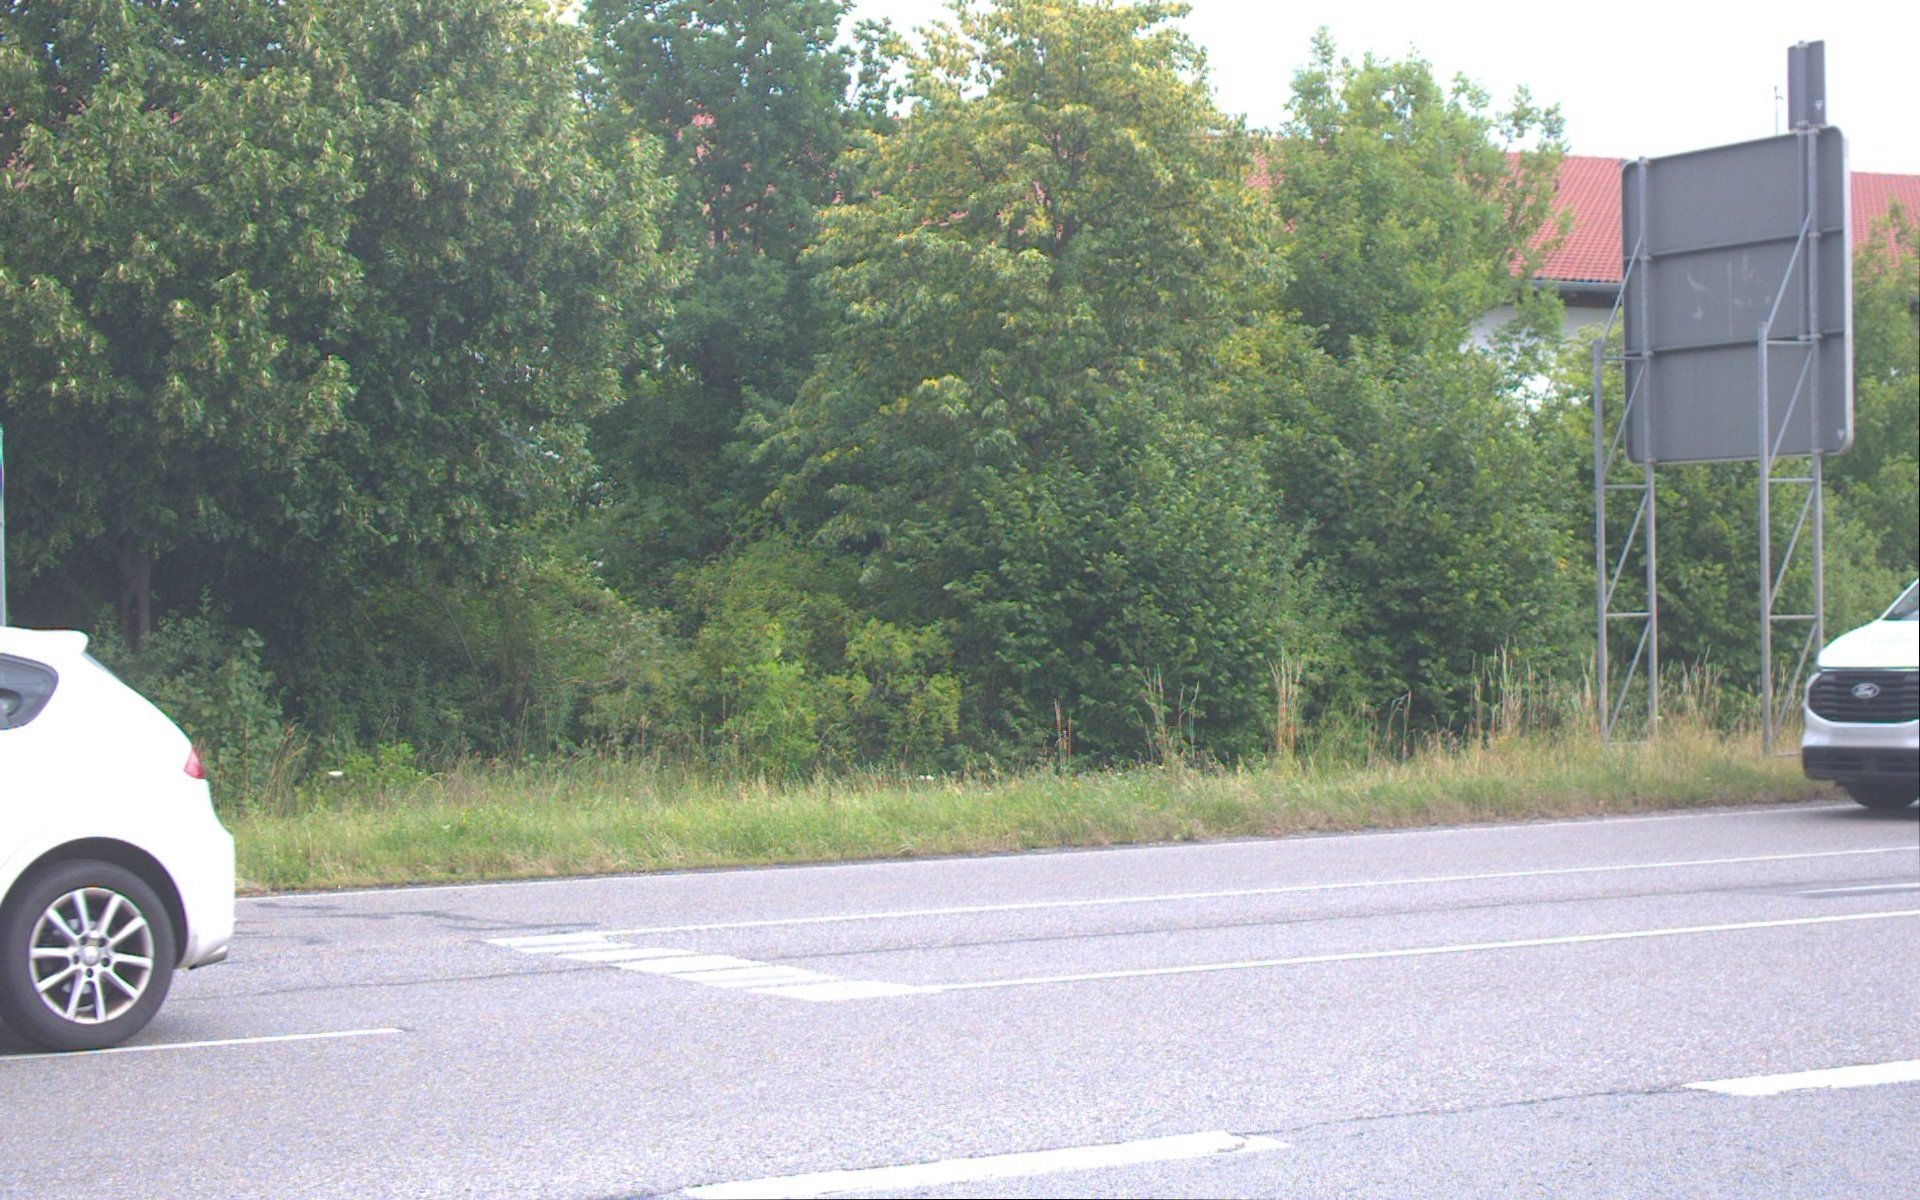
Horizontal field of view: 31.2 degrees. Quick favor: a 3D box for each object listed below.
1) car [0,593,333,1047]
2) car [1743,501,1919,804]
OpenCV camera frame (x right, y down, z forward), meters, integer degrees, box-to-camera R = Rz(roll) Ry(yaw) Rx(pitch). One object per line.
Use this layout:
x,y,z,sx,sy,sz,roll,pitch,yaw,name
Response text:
-4.361,0.753,10.916,4.300,1.403,1.819,-2,0,-41,car
8.067,0.274,23.097,5.372,1.879,2.113,-1,0,-28,car
